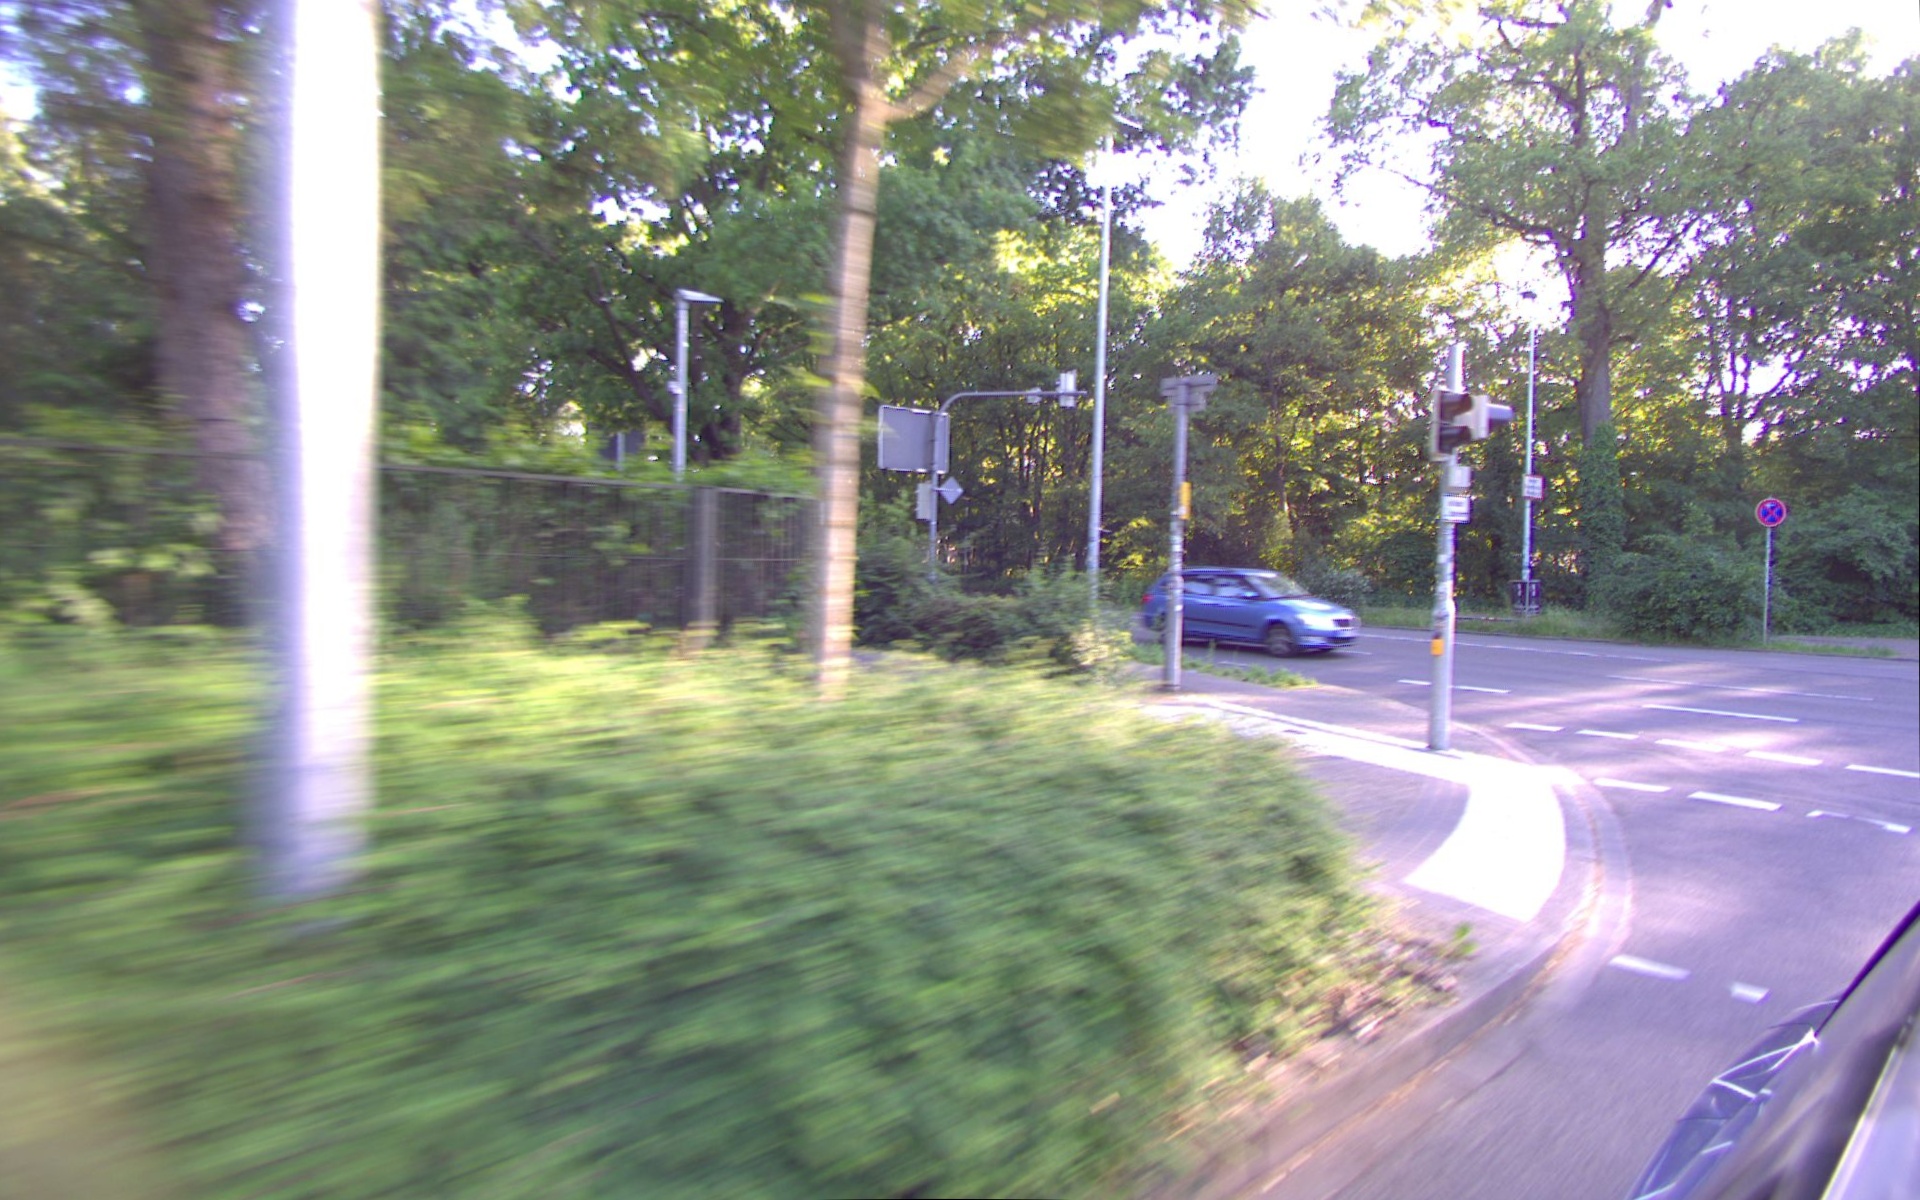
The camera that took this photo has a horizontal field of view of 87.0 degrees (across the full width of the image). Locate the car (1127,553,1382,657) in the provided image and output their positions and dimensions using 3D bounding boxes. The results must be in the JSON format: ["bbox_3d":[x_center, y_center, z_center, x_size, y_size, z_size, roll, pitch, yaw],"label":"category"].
[{"bbox_3d":[5.337,-0.024,18.847,1.780,1.598,4.317,-3,5,-39],"label":"car"}]
